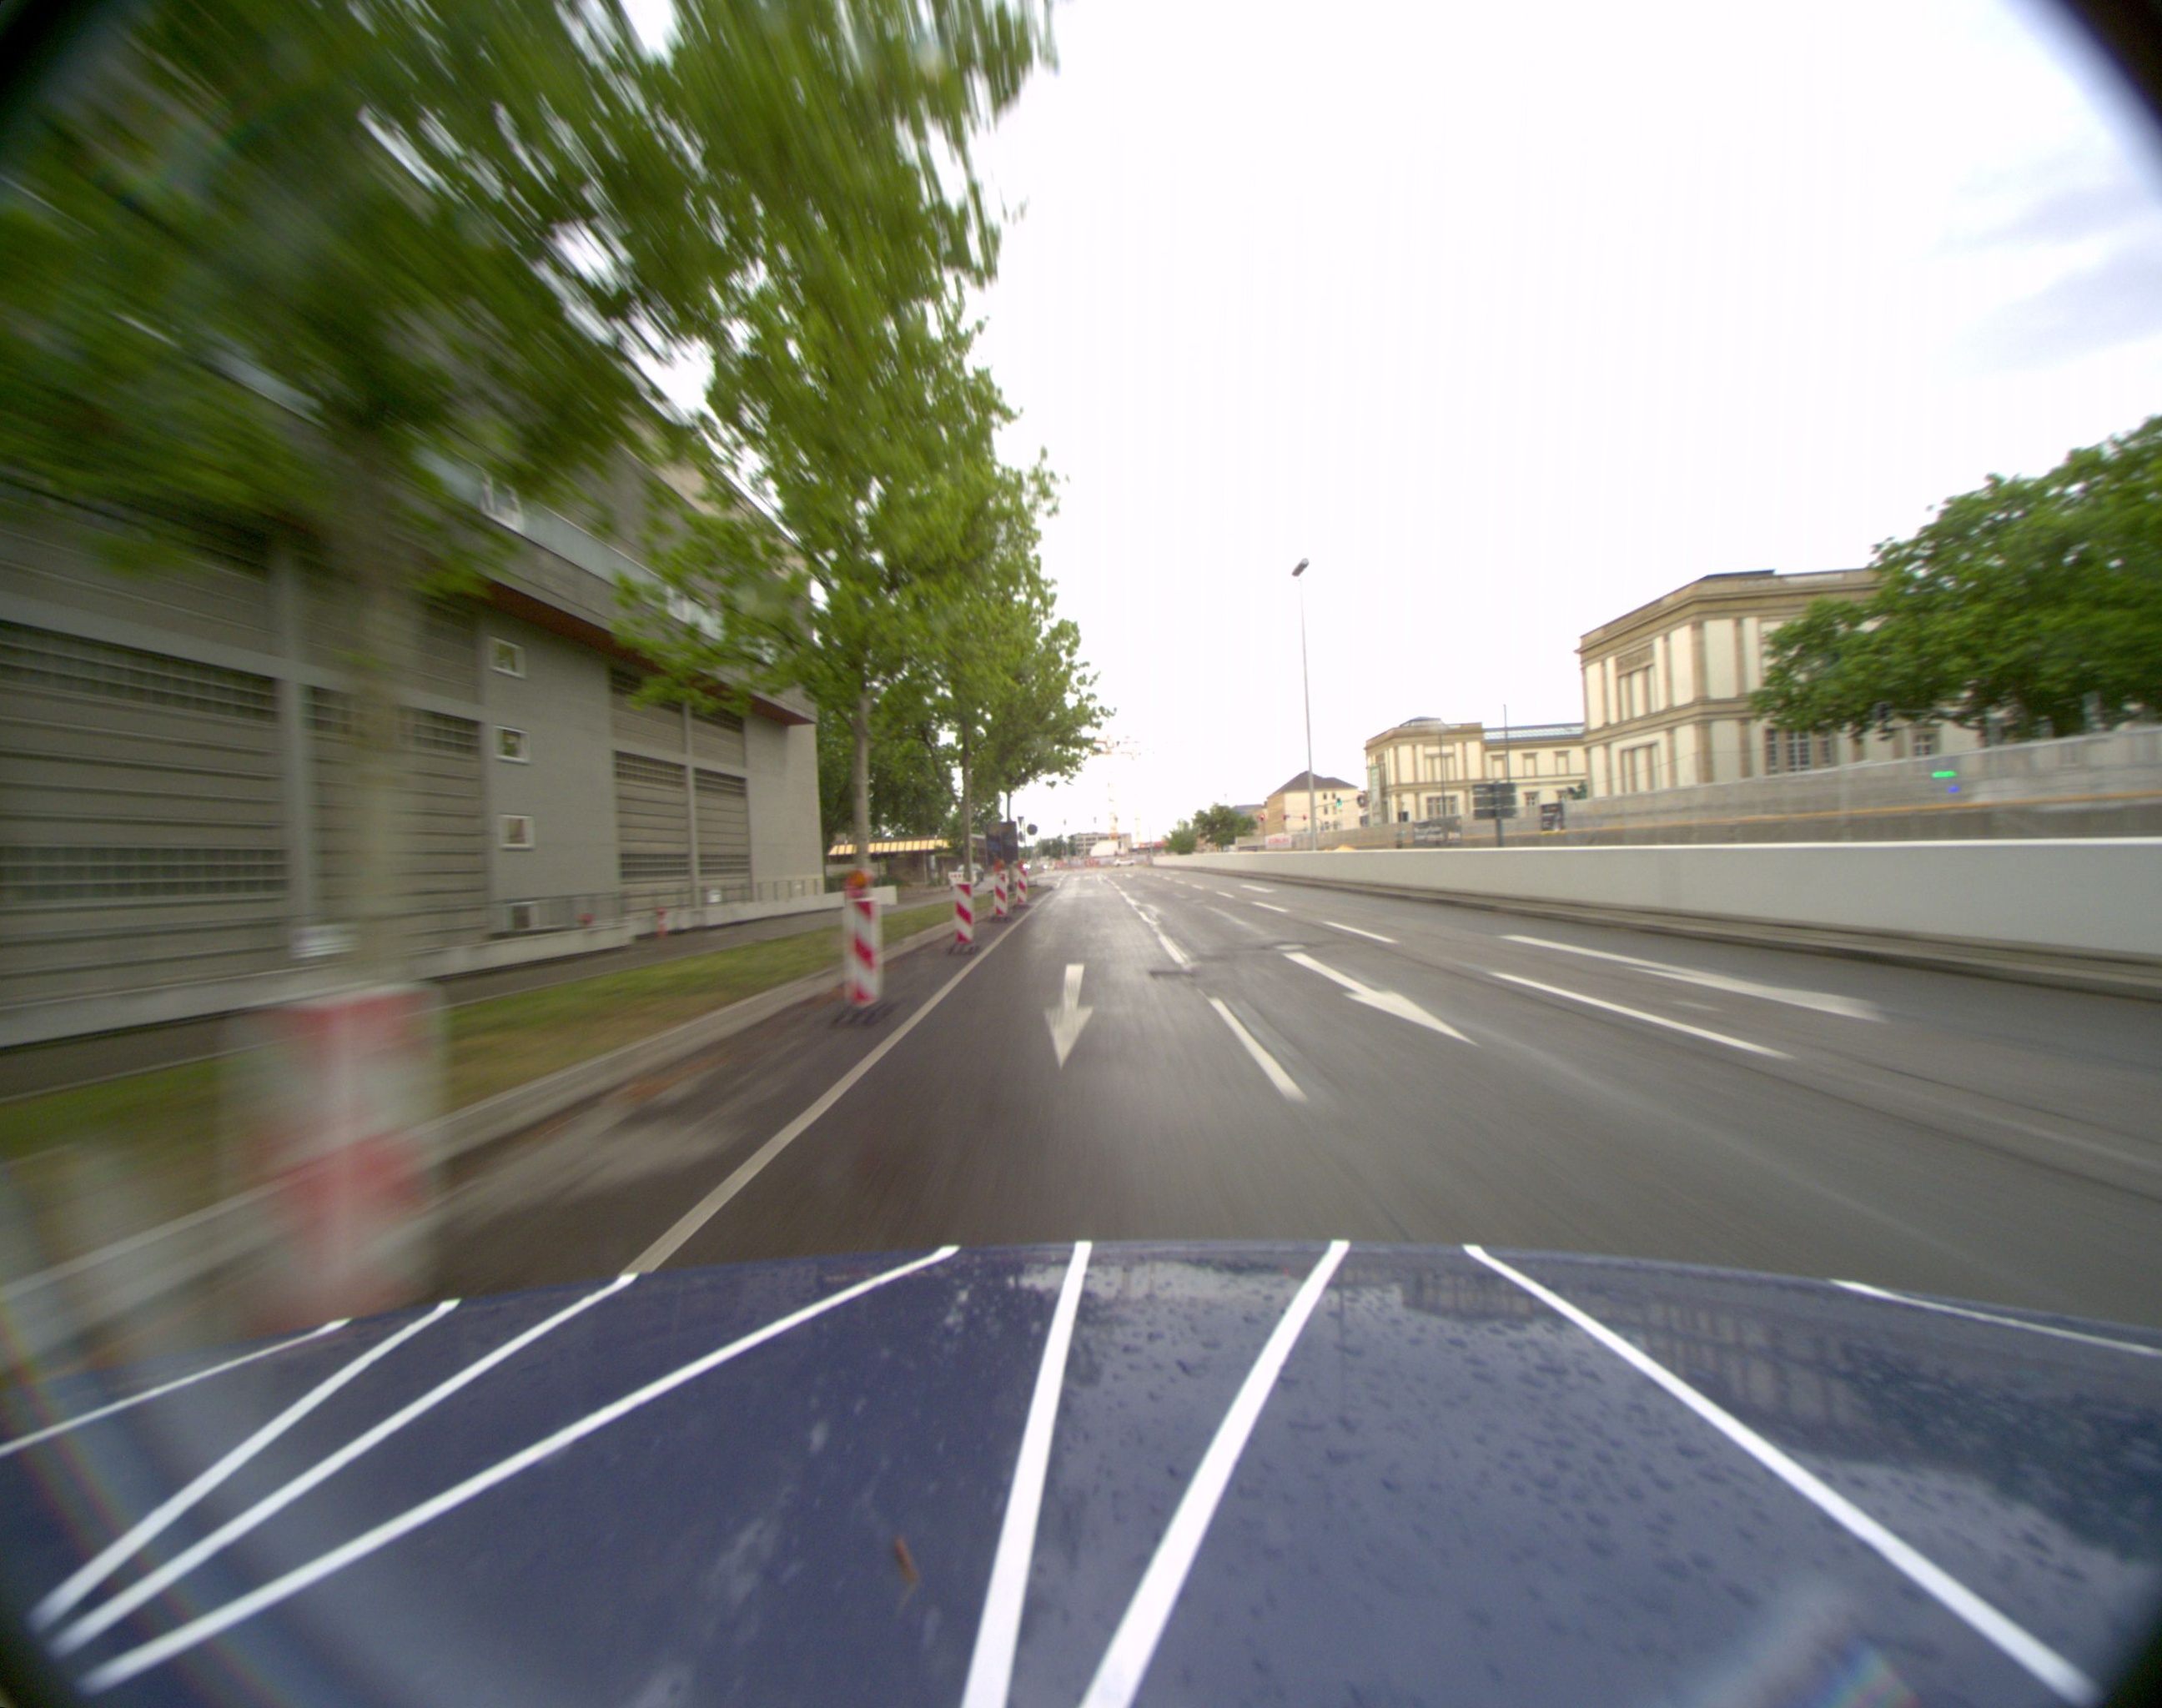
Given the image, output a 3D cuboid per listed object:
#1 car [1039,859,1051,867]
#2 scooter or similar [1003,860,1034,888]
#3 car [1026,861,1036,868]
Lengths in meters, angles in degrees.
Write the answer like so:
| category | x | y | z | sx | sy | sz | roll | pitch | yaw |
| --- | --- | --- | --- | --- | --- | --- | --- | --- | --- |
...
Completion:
| category | x | y | z | sx | sy | sz | roll | pitch | yaw |
| --- | --- | --- | --- | --- | --- | --- | --- | --- | --- |
| car | -8.182 | 2.075 | 173.791 | 1.862 | 1.556 | 3.797 | -5 | 0 | -16 |
| scooter or similar | -3.195 | 1.022 | 38.821 | 1.359 | 1.278 | 0.619 | -7 | 2 | 3 |
| car | -12.644 | 2.572 | 193.179 | 2.000 | 1.548 | 4.522 | -5 | 0 | -8 |
